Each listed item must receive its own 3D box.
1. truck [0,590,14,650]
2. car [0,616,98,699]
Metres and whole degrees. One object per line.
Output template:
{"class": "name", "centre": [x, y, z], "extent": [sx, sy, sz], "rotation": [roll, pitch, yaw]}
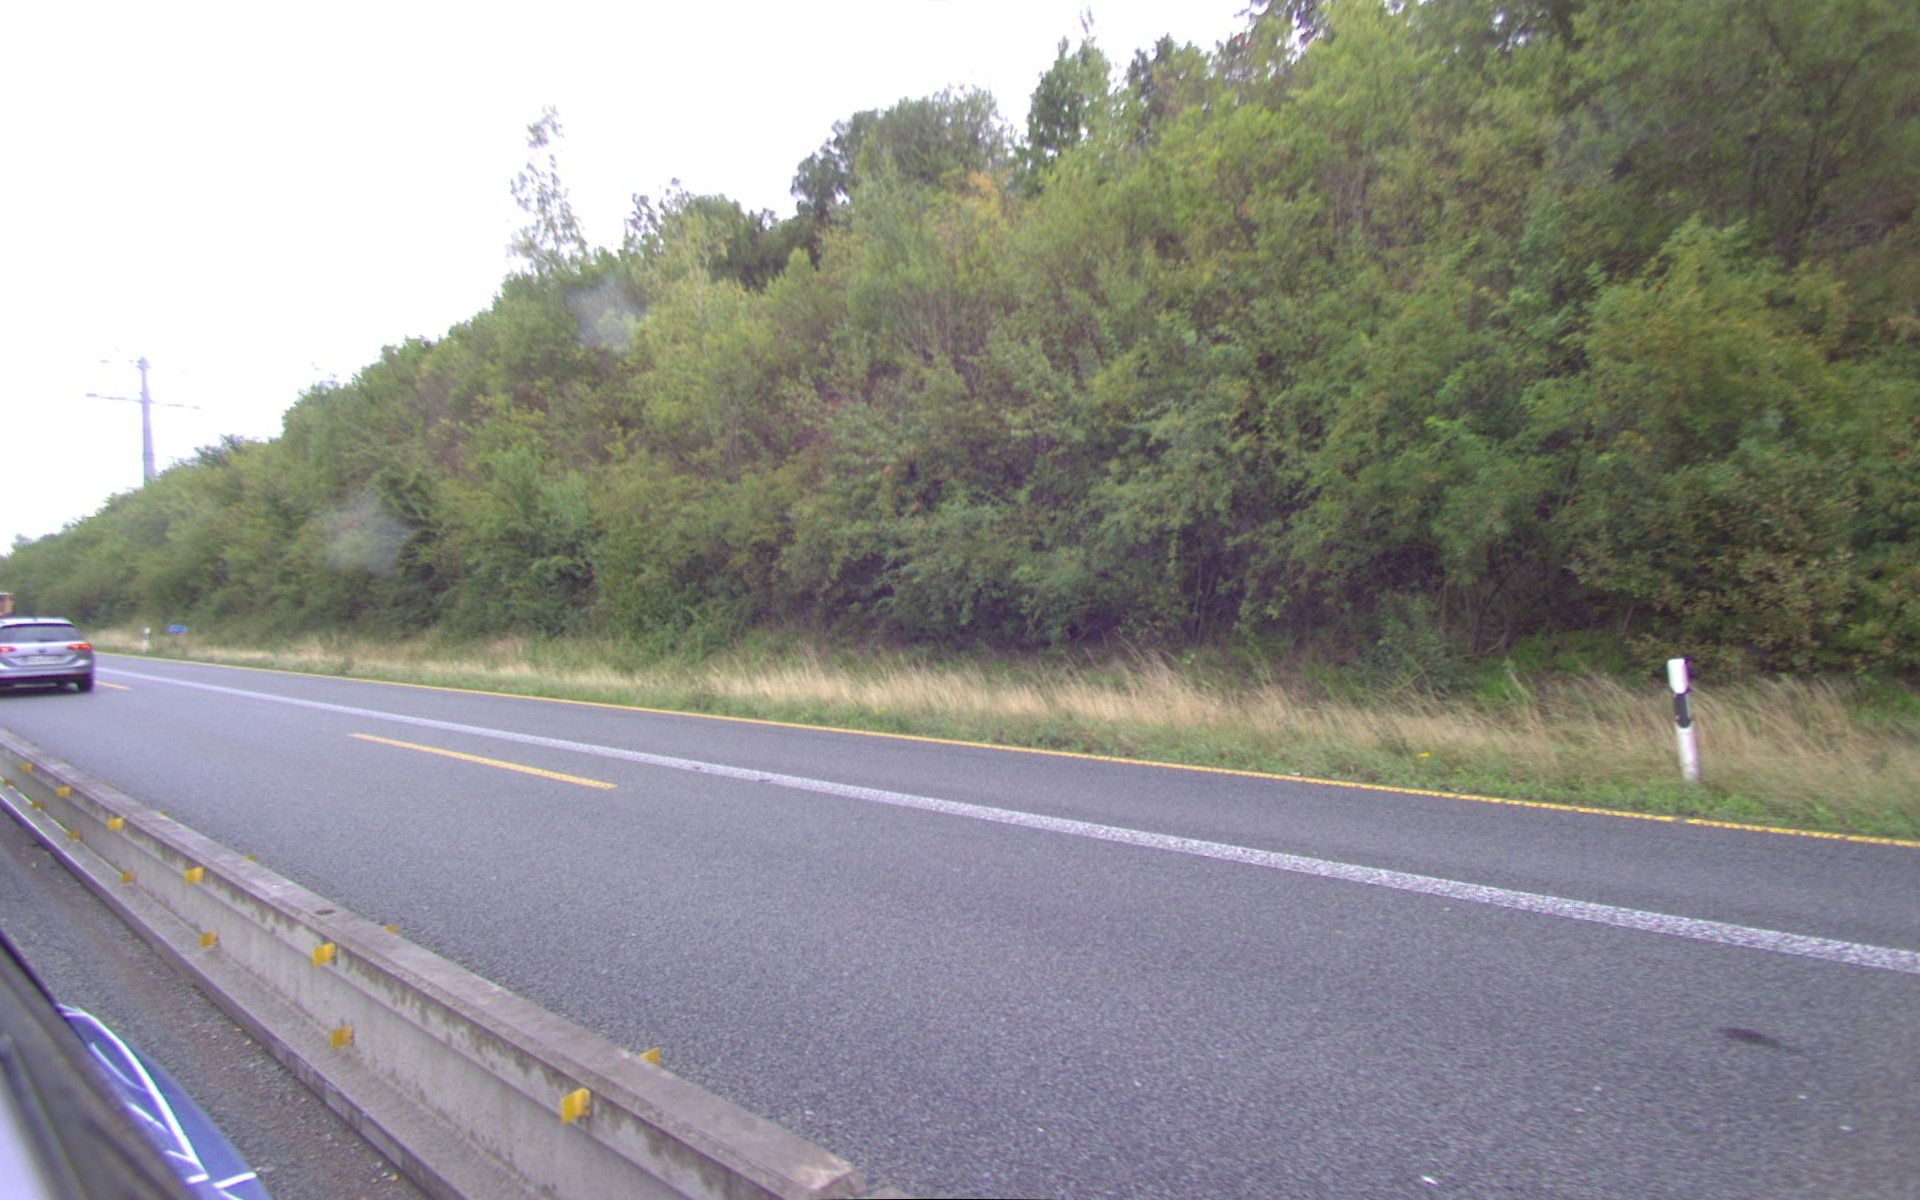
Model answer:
{"class": "truck", "centre": [-58.796, 1.164, 60.227], "extent": [12.044, 3.378, 2.508], "rotation": [-1, 0, 41]}
{"class": "car", "centre": [-18.905, 1.079, 20.305], "extent": [4.393, 1.499, 1.792], "rotation": [-1, 0, 40]}
